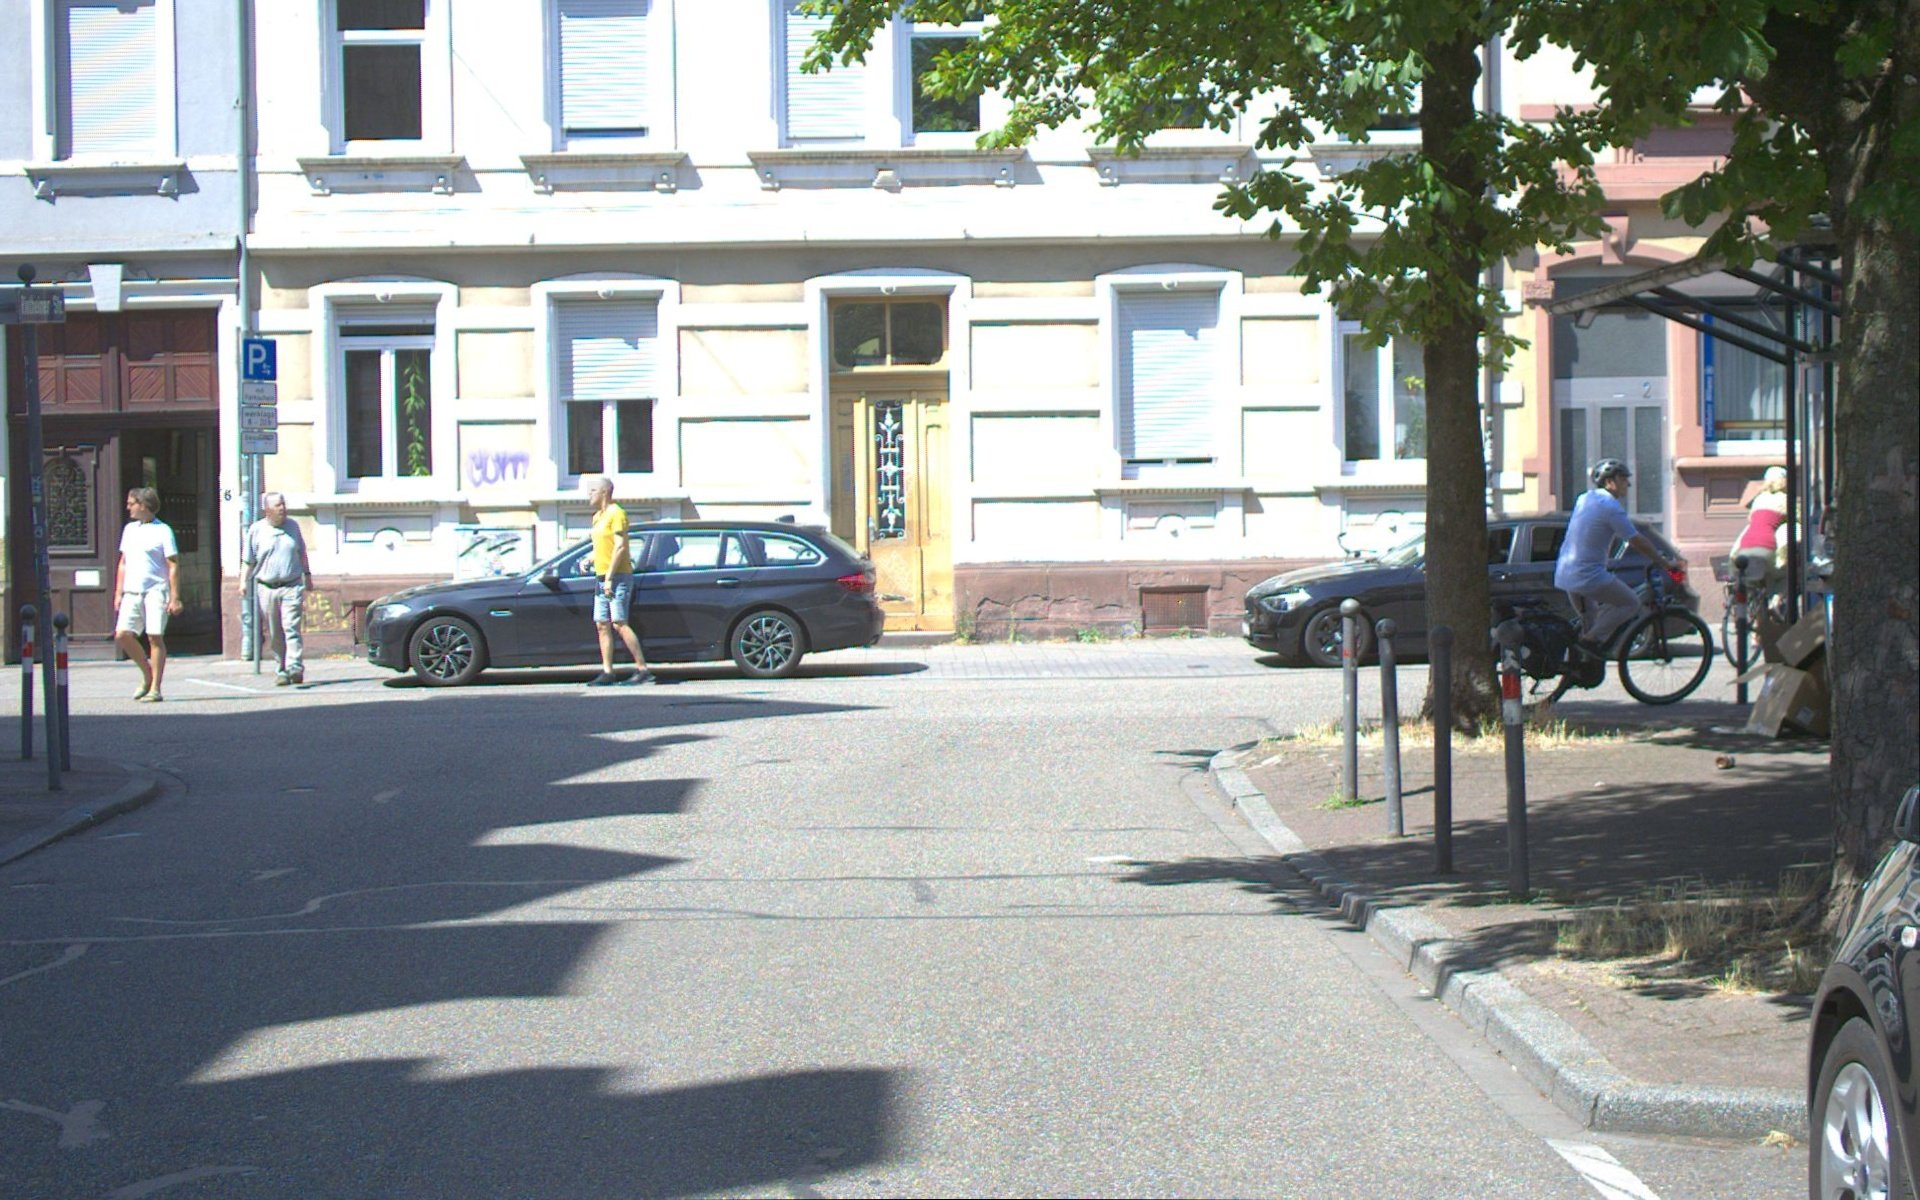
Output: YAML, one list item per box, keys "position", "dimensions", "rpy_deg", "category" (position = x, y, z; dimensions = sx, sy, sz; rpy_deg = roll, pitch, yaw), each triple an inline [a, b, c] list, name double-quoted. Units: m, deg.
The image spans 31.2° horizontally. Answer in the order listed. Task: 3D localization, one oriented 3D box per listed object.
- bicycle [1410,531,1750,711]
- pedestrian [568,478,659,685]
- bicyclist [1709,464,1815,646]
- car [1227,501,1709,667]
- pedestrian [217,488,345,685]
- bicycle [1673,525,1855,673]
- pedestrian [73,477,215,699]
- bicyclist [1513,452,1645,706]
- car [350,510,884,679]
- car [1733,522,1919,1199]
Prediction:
- position: [4.385, 0.138, 24.259]
  dimensions: [2.433, 1.224, 0.654]
  rpy_deg: [0, 1, -26]
  category: "bicycle"
- position: [-3.153, -0.175, 31.266]
  dimensions: [0.724, 1.847, 0.685]
  rpy_deg: [-2, 1, -10]
  category: "pedestrian"
- position: [6.850, -0.383, 29.355]
  dimensions: [0.672, 1.528, 0.608]
  rpy_deg: [-1, 1, 36]
  category: "bicyclist"
- position: [4.793, -0.171, 32.841]
  dimensions: [4.294, 1.365, 1.807]
  rpy_deg: [-1, 4, -1]
  category: "car"
- position: [-6.392, -0.132, 32.395]
  dimensions: [0.901, 1.808, 0.960]
  rpy_deg: [-1, 1, 5]
  category: "pedestrian"
- position: [6.908, -0.025, 29.455]
  dimensions: [0.653, 1.205, 2.436]
  rpy_deg: [1, 1, 35]
  category: "bicycle"
- position: [-7.091, -0.111, 29.920]
  dimensions: [0.850, 1.882, 0.935]
  rpy_deg: [-1, 1, 10]
  category: "pedestrian"
- position: [4.358, -0.153, 24.235]
  dimensions: [0.607, 1.754, 0.673]
  rpy_deg: [0, 1, -25]
  category: "bicyclist"
- position: [-3.168, -0.070, 32.595]
  dimensions: [4.859, 1.432, 2.000]
  rpy_deg: [-1, 1, -1]
  category: "car"
- position: [2.518, 0.669, 5.139]
  dimensions: [1.663, 1.535, 4.178]
  rpy_deg: [1, 1, -1]
  category: "car"
